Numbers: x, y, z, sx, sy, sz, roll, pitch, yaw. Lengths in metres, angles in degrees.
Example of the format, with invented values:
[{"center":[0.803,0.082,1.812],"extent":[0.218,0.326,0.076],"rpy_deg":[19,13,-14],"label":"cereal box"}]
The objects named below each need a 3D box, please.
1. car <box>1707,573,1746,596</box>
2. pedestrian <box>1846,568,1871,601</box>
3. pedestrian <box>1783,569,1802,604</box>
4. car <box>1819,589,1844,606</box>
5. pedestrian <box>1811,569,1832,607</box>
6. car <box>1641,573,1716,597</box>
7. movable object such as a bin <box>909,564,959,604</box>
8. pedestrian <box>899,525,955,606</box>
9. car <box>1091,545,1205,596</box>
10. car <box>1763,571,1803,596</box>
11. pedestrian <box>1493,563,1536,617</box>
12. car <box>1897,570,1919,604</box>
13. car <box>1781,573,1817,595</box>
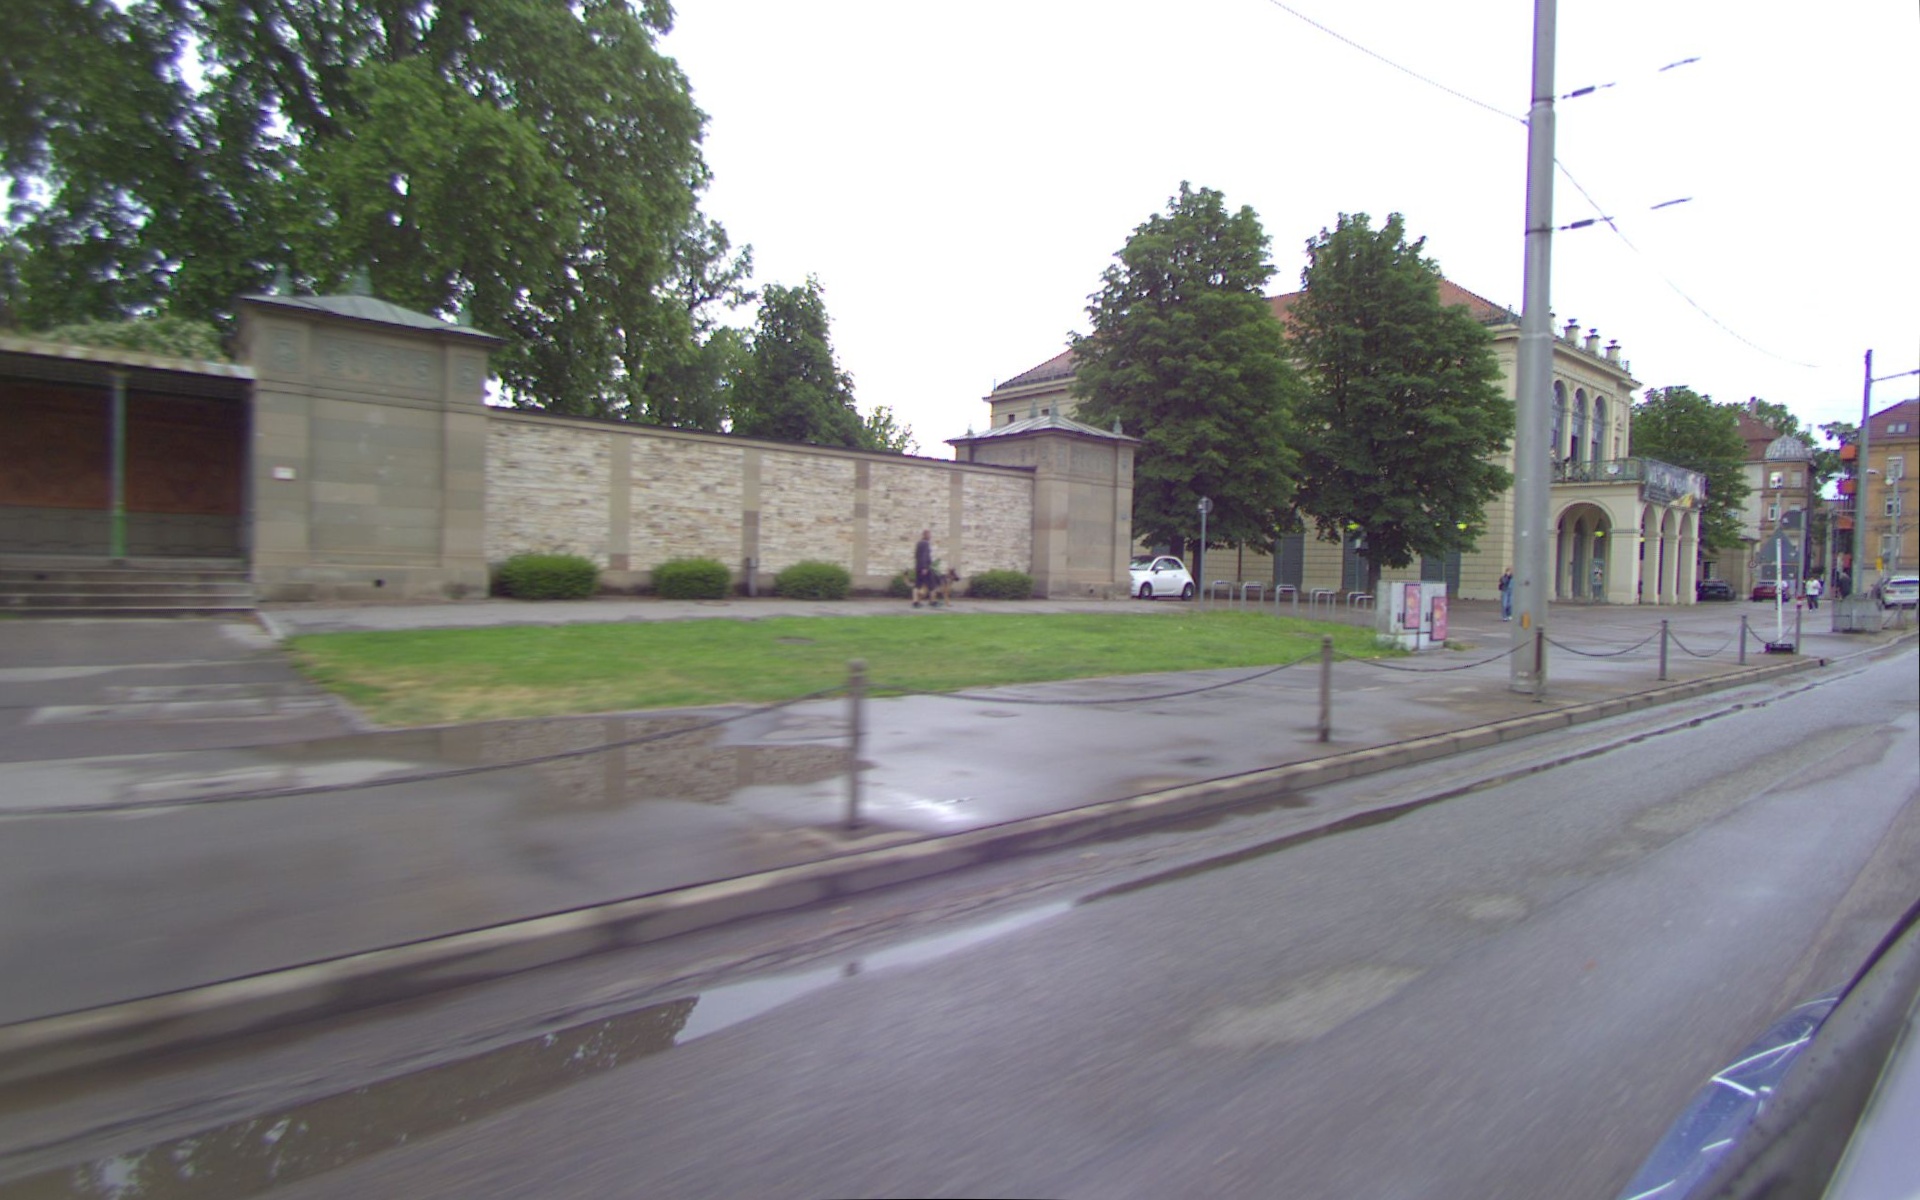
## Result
[{"center":[55.216,-1.120,72.861],"extent":[1.858,1.567,4.004],"rpy_deg":[1,2,43],"label":"car"},{"center":[49.128,-0.847,55.324],"extent":[0.769,1.829,0.696],"rpy_deg":[0,1,9],"label":"pedestrian"},{"center":[39.945,-0.651,48.560],"extent":[0.627,1.664,0.769],"rpy_deg":[2,3,43],"label":"pedestrian"},{"center":[92.316,-0.277,107.171],"extent":[1.826,1.602,3.938],"rpy_deg":[3,3,43],"label":"car"},{"center":[40.132,-0.570,47.138],"extent":[0.825,1.757,0.594],"rpy_deg":[-1,2,-43],"label":"pedestrian"},{"center":[47.838,-1.000,67.452],"extent":[1.697,1.487,3.744],"rpy_deg":[-1,3,-38],"label":"car"},{"center":[-0.597,-0.361,23.043],"extent":[1.170,0.882,0.343],"rpy_deg":[-1,2,-40],"label":"movable object such as a bin"},{"center":[-0.722,-0.765,22.188],"extent":[0.964,1.732,0.730],"rpy_deg":[-1,2,-40],"label":"pedestrian"},{"center":[6.179,-0.945,33.111],"extent":[3.534,1.473,1.841],"rpy_deg":[2,1,-41],"label":"car"},{"center":[57.118,-1.178,70.229],"extent":[1.826,1.602,3.938],"rpy_deg":[3,3,43],"label":"car"},{"center":[17.091,-0.330,31.204],"extent":[0.654,1.610,0.868],"rpy_deg":[1,3,-14],"label":"pedestrian"},{"center":[49.187,-0.711,51.635],"extent":[1.839,1.660,4.076],"rpy_deg":[-2,0,45],"label":"car"},{"center":[64.710,-1.269,78.050],"extent":[1.826,1.602,3.938],"rpy_deg":[3,3,43],"label":"car"}]
